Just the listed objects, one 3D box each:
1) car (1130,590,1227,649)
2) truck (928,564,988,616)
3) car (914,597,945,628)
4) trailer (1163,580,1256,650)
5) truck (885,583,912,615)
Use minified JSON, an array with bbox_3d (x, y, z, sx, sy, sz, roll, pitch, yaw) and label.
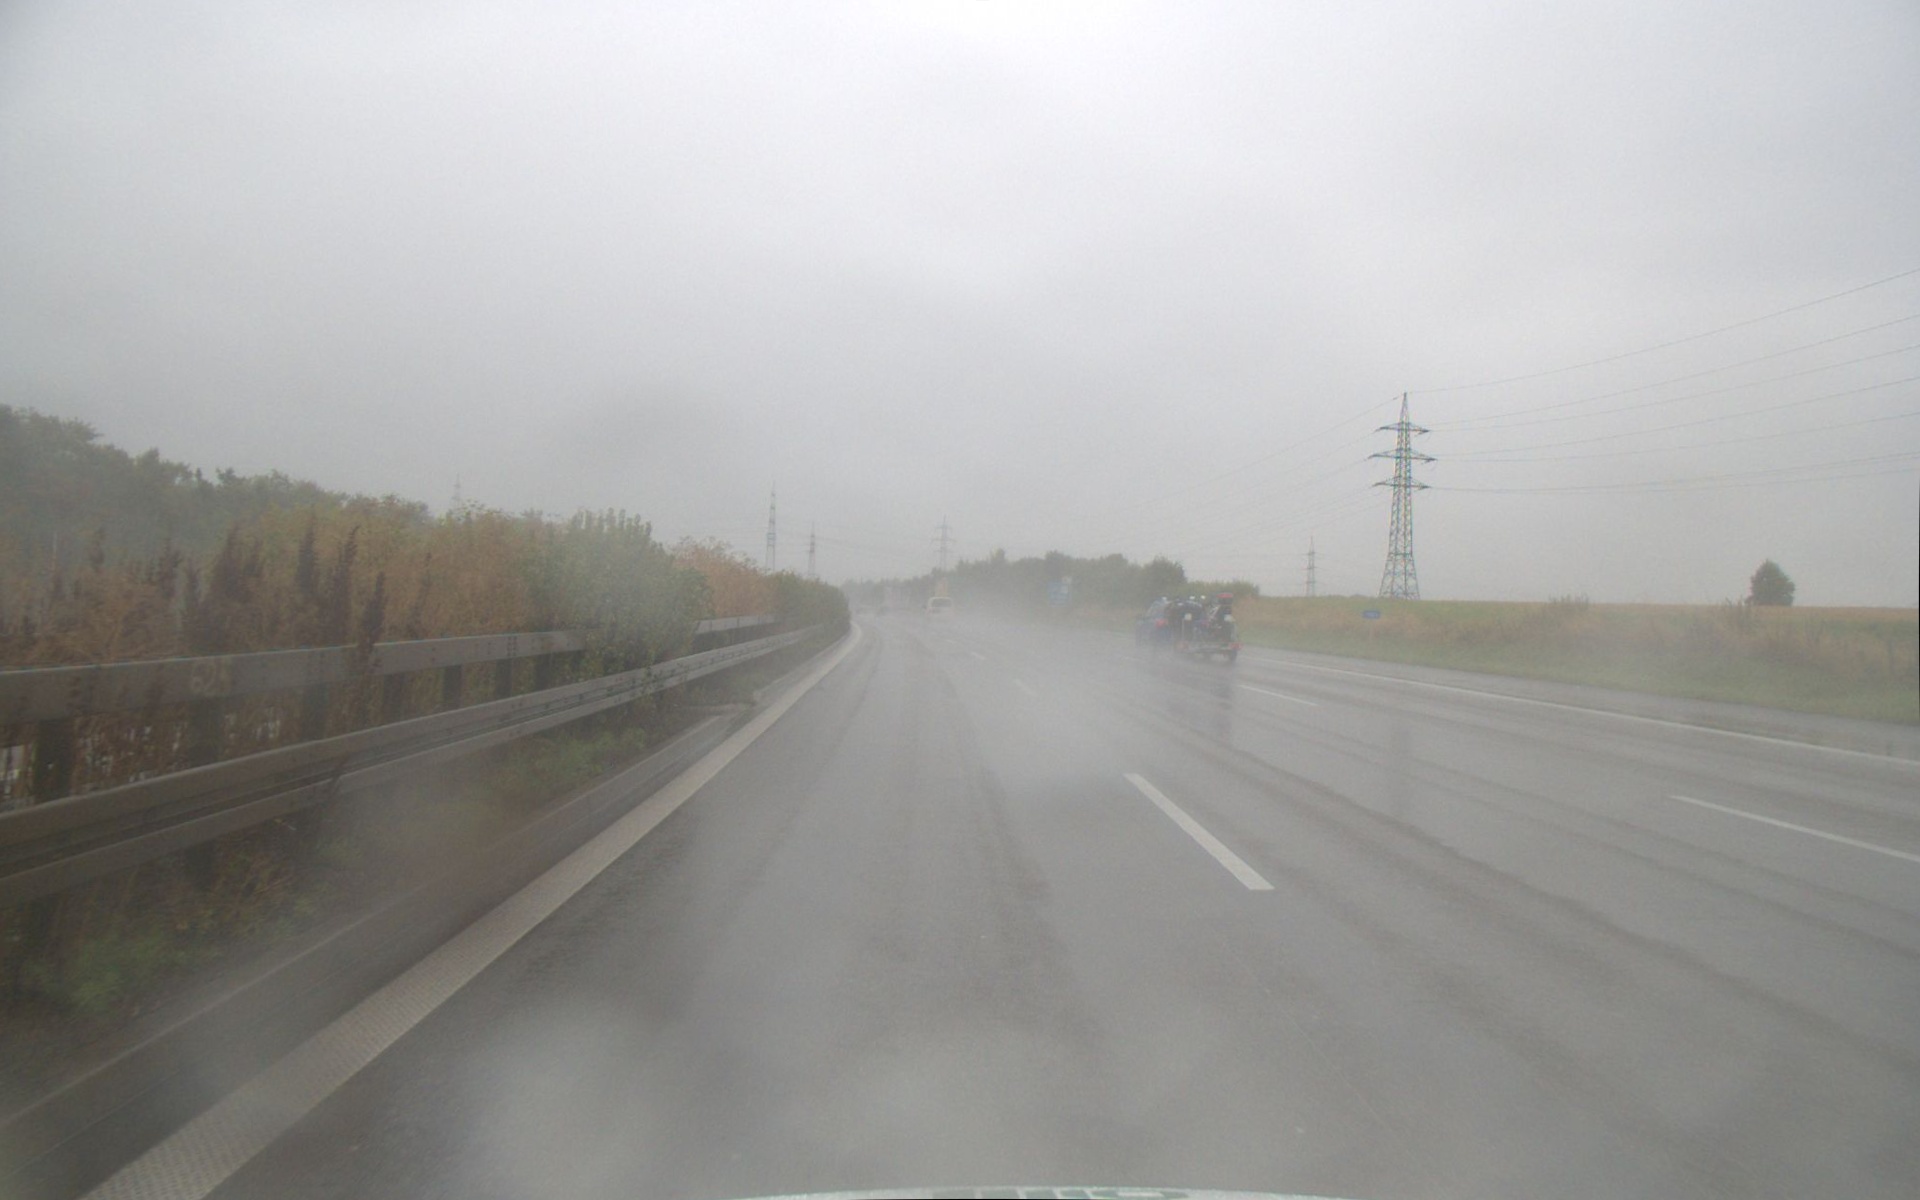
[{"bbox_3d":[6.413,0.578,49.107,1.954,1.647,4.989,0,-1,-3],"label":"car"},{"bbox_3d":[-0.351,-0.851,161.193,4.109,4.711,16.081,1,-1,-6],"label":"truck"},{"bbox_3d":[-2.148,0.868,115.385,1.954,2.049,3.997,1,0,-3],"label":"car"},{"bbox_3d":[6.756,0.420,45.030,1.939,1.816,3.187,0,-1,-3],"label":"trailer"},{"bbox_3d":[-8.645,-0.154,231.524,3.170,4.387,8.826,1,0,-5],"label":"truck"}]
